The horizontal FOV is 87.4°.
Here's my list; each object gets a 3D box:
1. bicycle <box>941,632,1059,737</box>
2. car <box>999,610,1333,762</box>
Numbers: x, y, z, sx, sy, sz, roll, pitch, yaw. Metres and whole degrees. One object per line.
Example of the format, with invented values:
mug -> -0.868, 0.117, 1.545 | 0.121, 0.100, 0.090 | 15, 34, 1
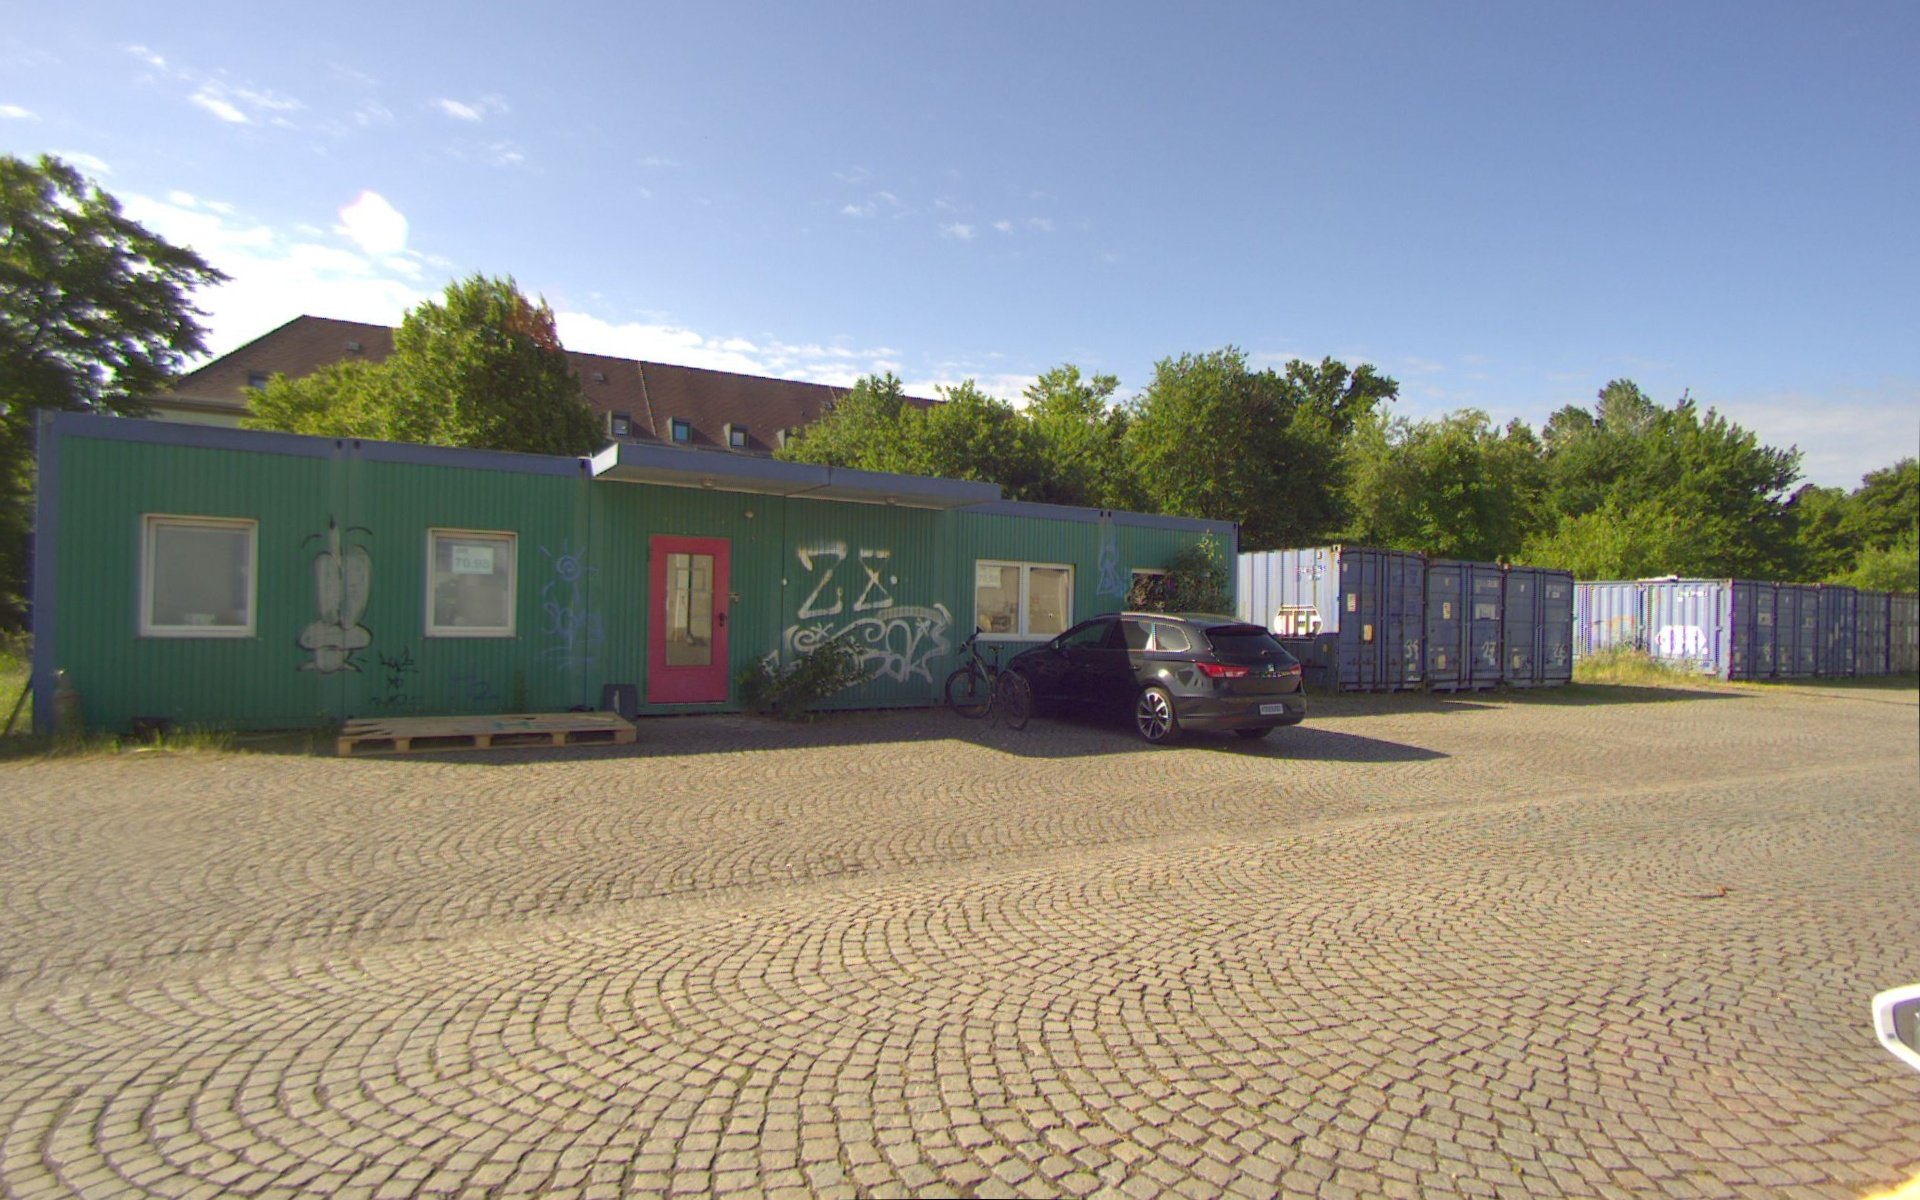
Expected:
bicycle -> 0.458, 0.999, 12.428 | 0.665, 1.116, 1.701 | 1, 1, -28
car -> 2.313, 0.908, 12.306 | 1.712, 1.432, 4.028 | 2, 0, -31
